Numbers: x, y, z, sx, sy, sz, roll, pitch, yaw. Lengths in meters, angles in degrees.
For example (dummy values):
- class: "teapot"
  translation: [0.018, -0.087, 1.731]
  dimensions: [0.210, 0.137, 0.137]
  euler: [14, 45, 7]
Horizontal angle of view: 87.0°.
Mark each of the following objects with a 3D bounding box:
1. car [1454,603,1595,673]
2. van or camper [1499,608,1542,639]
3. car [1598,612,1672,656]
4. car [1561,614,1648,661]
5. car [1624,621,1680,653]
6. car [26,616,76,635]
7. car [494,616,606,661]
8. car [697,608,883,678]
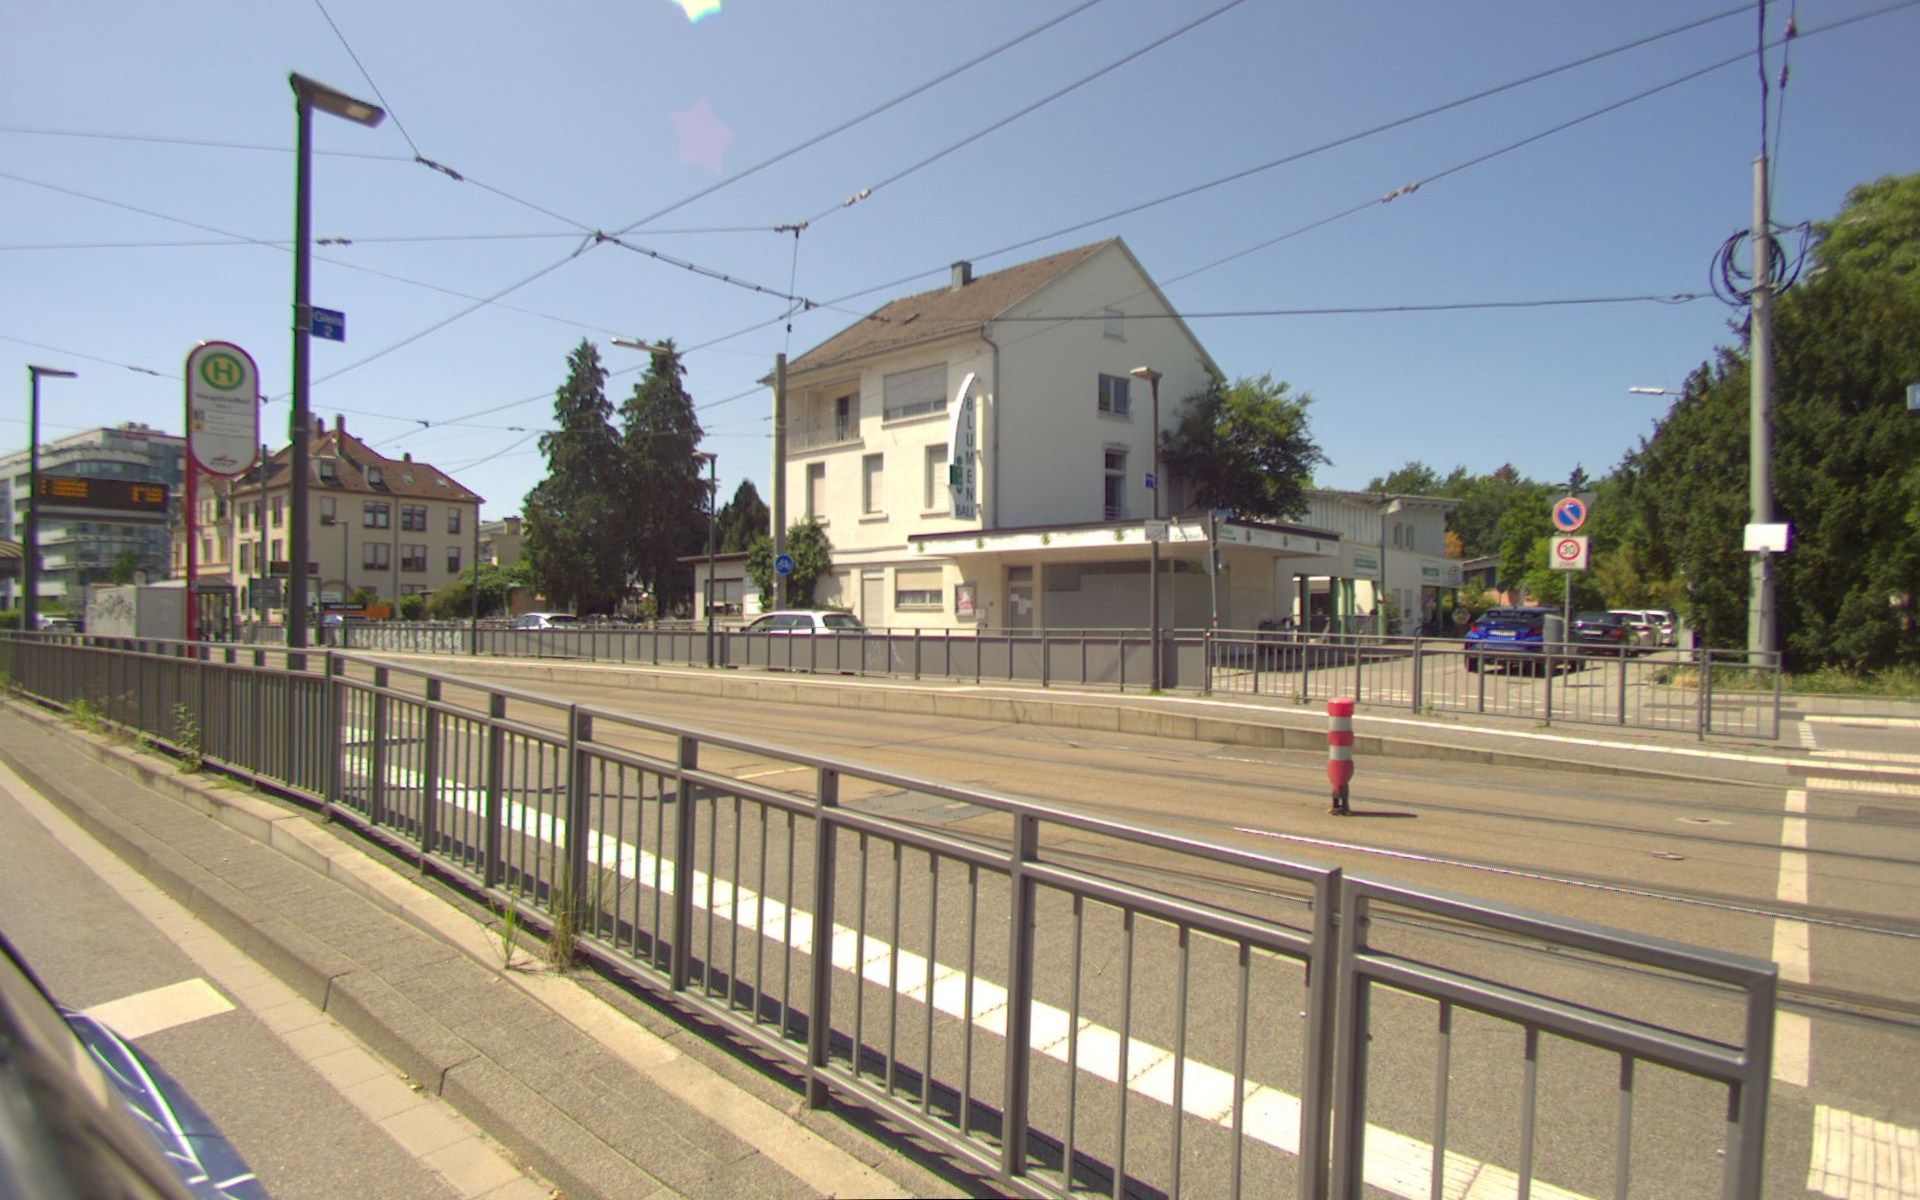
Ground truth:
- class: "car"
  translation: [13.103, 0.827, 23.398]
  dimensions: [3.900, 1.463, 1.825]
  euler: [1, -1, -45]
- class: "van or camper"
  translation: [29.191, 1.208, 52.660]
  dimensions: [1.686, 1.578, 3.783]
  euler: [-1, -1, 33]
- class: "car"
  translation: [24.062, 1.215, 36.035]
  dimensions: [1.644, 1.457, 3.760]
  euler: [-1, -2, 42]
- class: "car"
  translation: [20.043, 1.163, 31.419]
  dimensions: [1.645, 1.380, 3.759]
  euler: [-1, -2, 43]
- class: "car"
  translation: [27.458, 1.472, 40.123]
  dimensions: [1.420, 1.193, 3.317]
  euler: [-1, -2, 42]
- class: "car"
  translation: [-71.145, 1.983, 79.168]
  dimensions: [4.610, 1.479, 1.803]
  euler: [-1, -1, 33]
- class: "car"
  translation: [-13.444, 1.226, 33.067]
  dimensions: [4.051, 1.373, 1.798]
  euler: [-1, -3, 42]
- class: "car"
  translation: [-4.065, 0.990, 23.793]
  dimensions: [4.495, 1.501, 1.800]
  euler: [-1, -3, 40]
